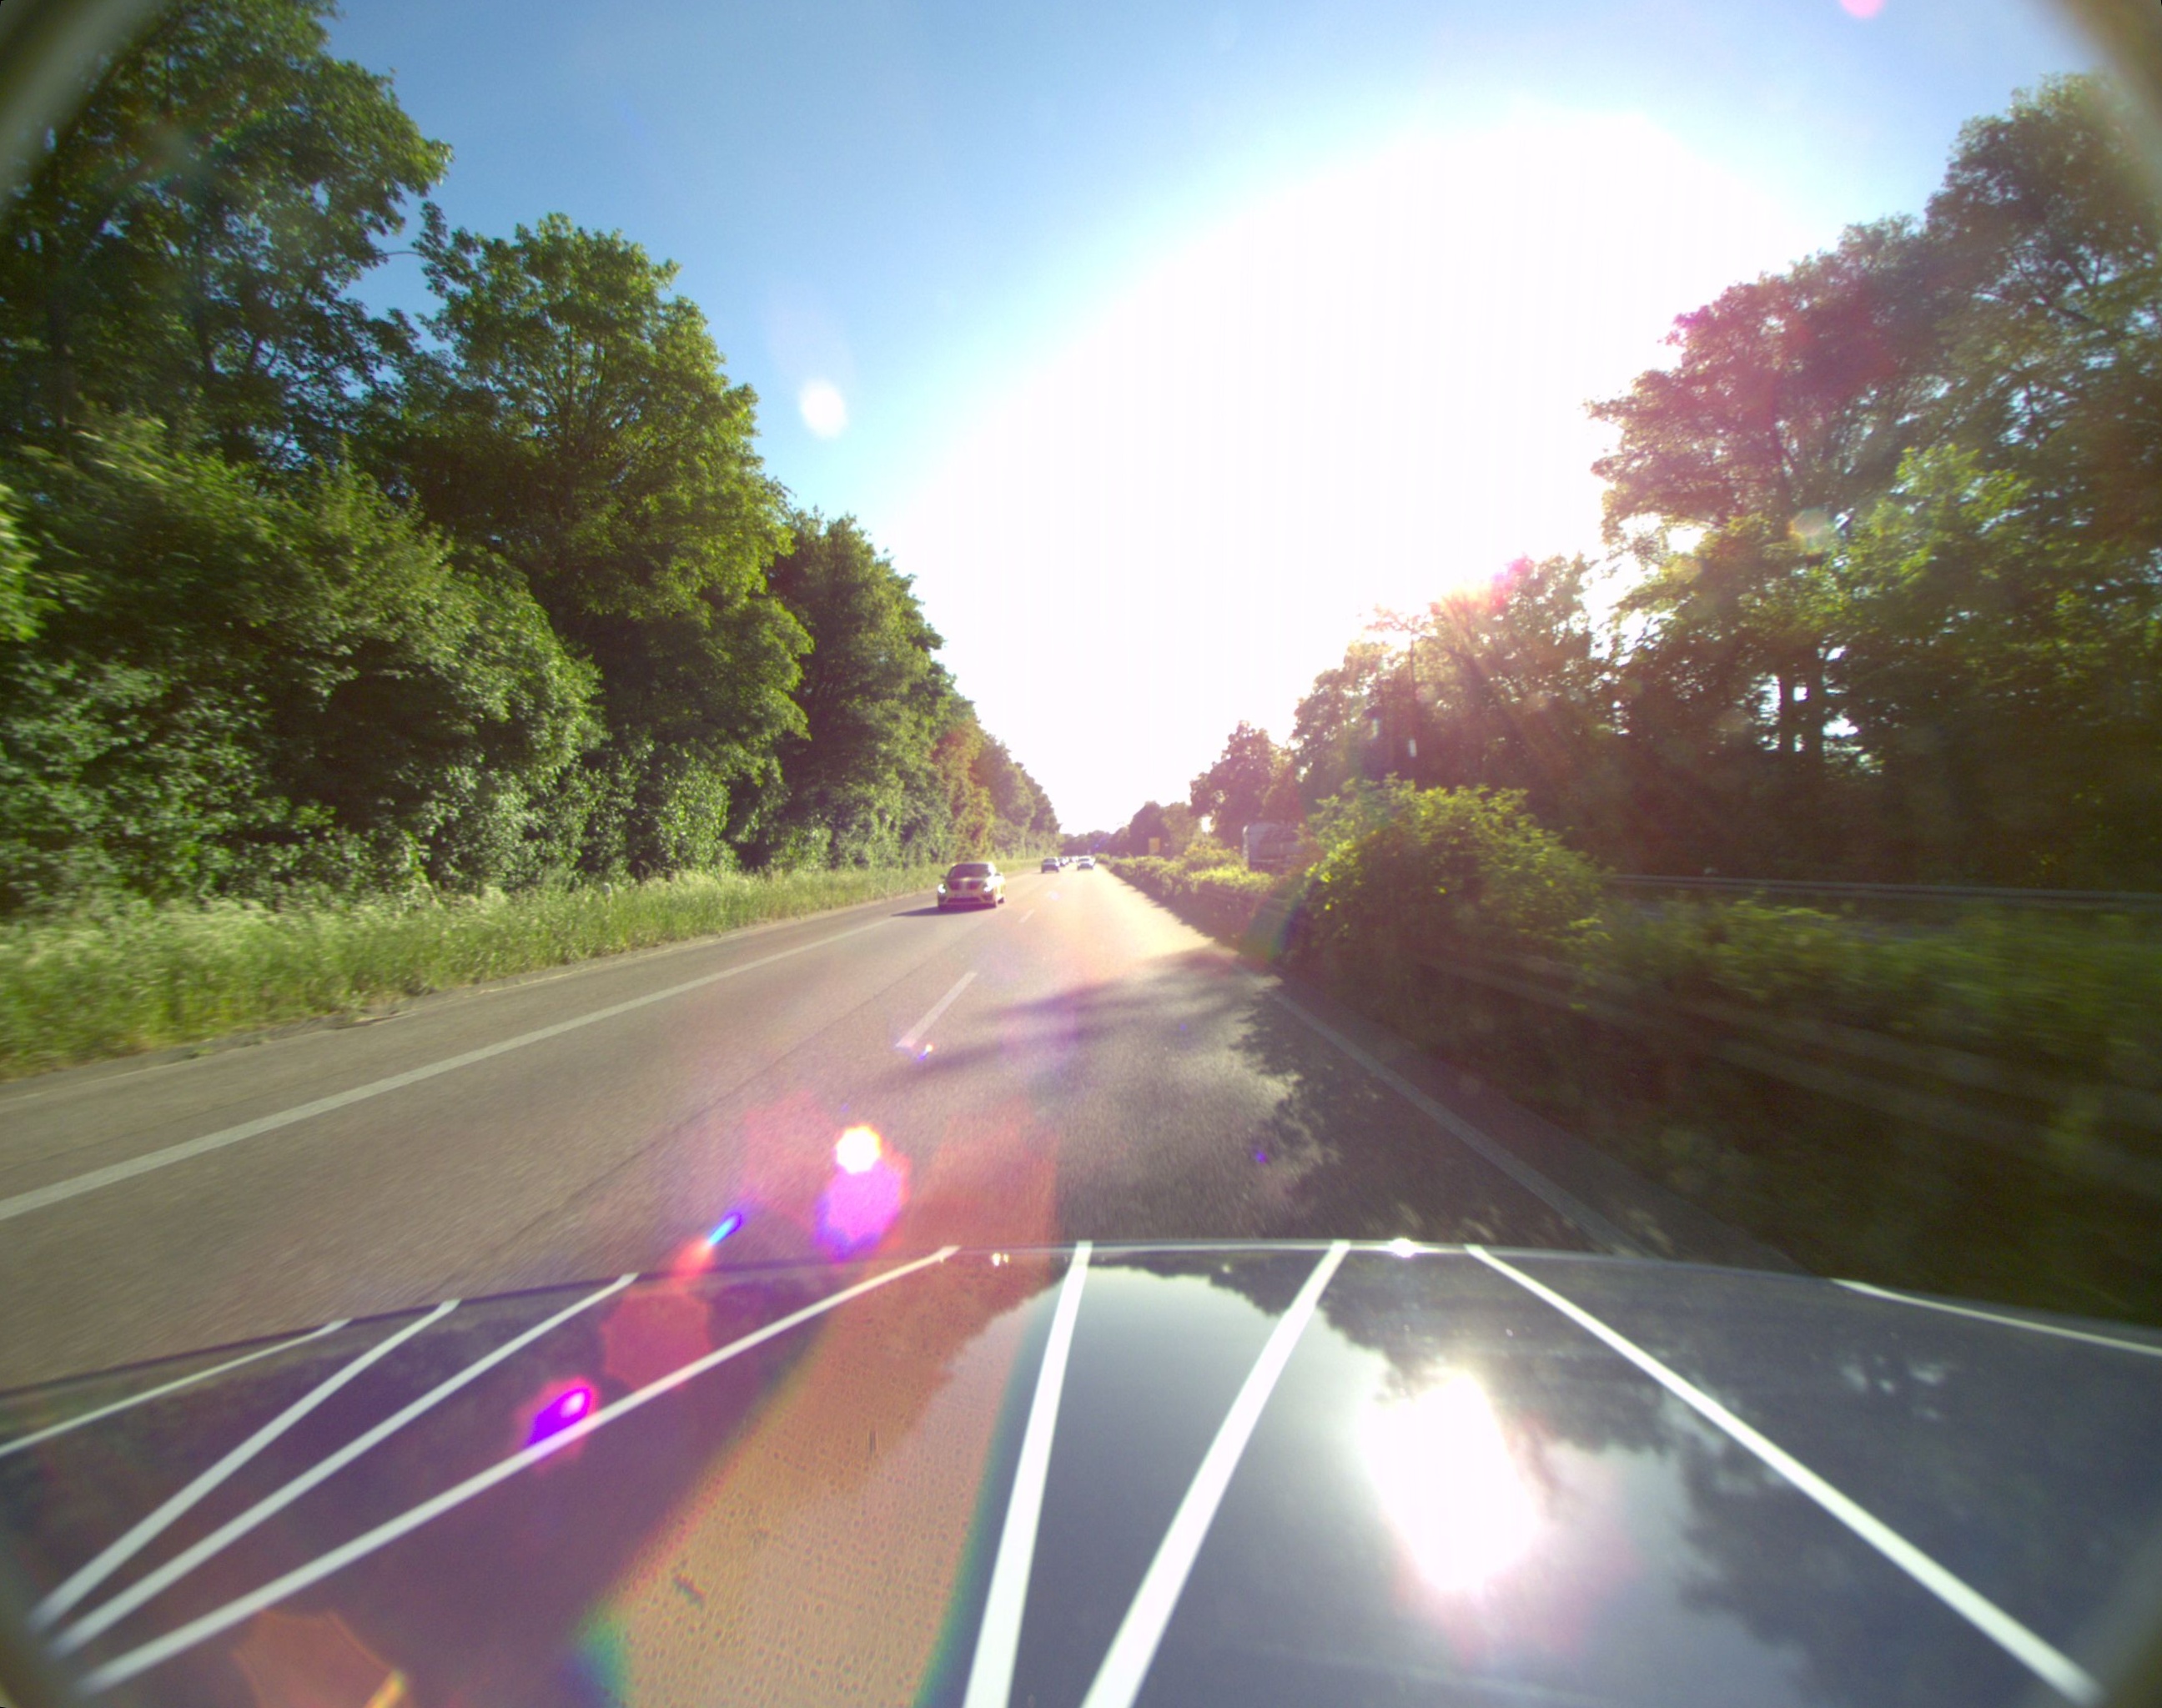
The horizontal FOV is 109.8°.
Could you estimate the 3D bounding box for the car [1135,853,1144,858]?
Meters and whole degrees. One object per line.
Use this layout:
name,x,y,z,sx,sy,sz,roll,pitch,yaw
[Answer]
car,13.494,0.345,175.143,1.649,1.215,4.262,-2,0,0

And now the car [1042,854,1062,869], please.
car,-2.922,0.733,77.646,1.795,1.440,3.877,-2,0,0

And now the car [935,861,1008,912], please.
car,-3.477,0.997,24.852,1.795,1.440,3.877,-2,0,0

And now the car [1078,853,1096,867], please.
car,0.704,0.628,85.925,1.890,1.440,3.878,-2,0,1

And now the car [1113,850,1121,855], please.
car,10.215,-0.428,215.539,1.752,1.418,5.203,-2,1,0

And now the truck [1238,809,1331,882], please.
truck,12.439,-0.547,47.663,2.776,3.932,11.465,-2,1,1

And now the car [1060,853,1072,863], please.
car,-2.269,0.628,115.521,1.795,1.440,3.877,-2,0,0

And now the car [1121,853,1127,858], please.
car,14.897,0.621,261.863,1.752,1.486,3.976,-2,1,0

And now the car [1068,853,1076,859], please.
car,-2.312,0.588,195.156,1.795,1.440,3.877,-2,0,0

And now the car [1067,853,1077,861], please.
car,-1.629,0.575,143.549,1.795,1.440,3.877,-2,0,0

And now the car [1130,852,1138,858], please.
car,14.197,0.299,202.995,1.752,1.418,4.135,-2,1,0
